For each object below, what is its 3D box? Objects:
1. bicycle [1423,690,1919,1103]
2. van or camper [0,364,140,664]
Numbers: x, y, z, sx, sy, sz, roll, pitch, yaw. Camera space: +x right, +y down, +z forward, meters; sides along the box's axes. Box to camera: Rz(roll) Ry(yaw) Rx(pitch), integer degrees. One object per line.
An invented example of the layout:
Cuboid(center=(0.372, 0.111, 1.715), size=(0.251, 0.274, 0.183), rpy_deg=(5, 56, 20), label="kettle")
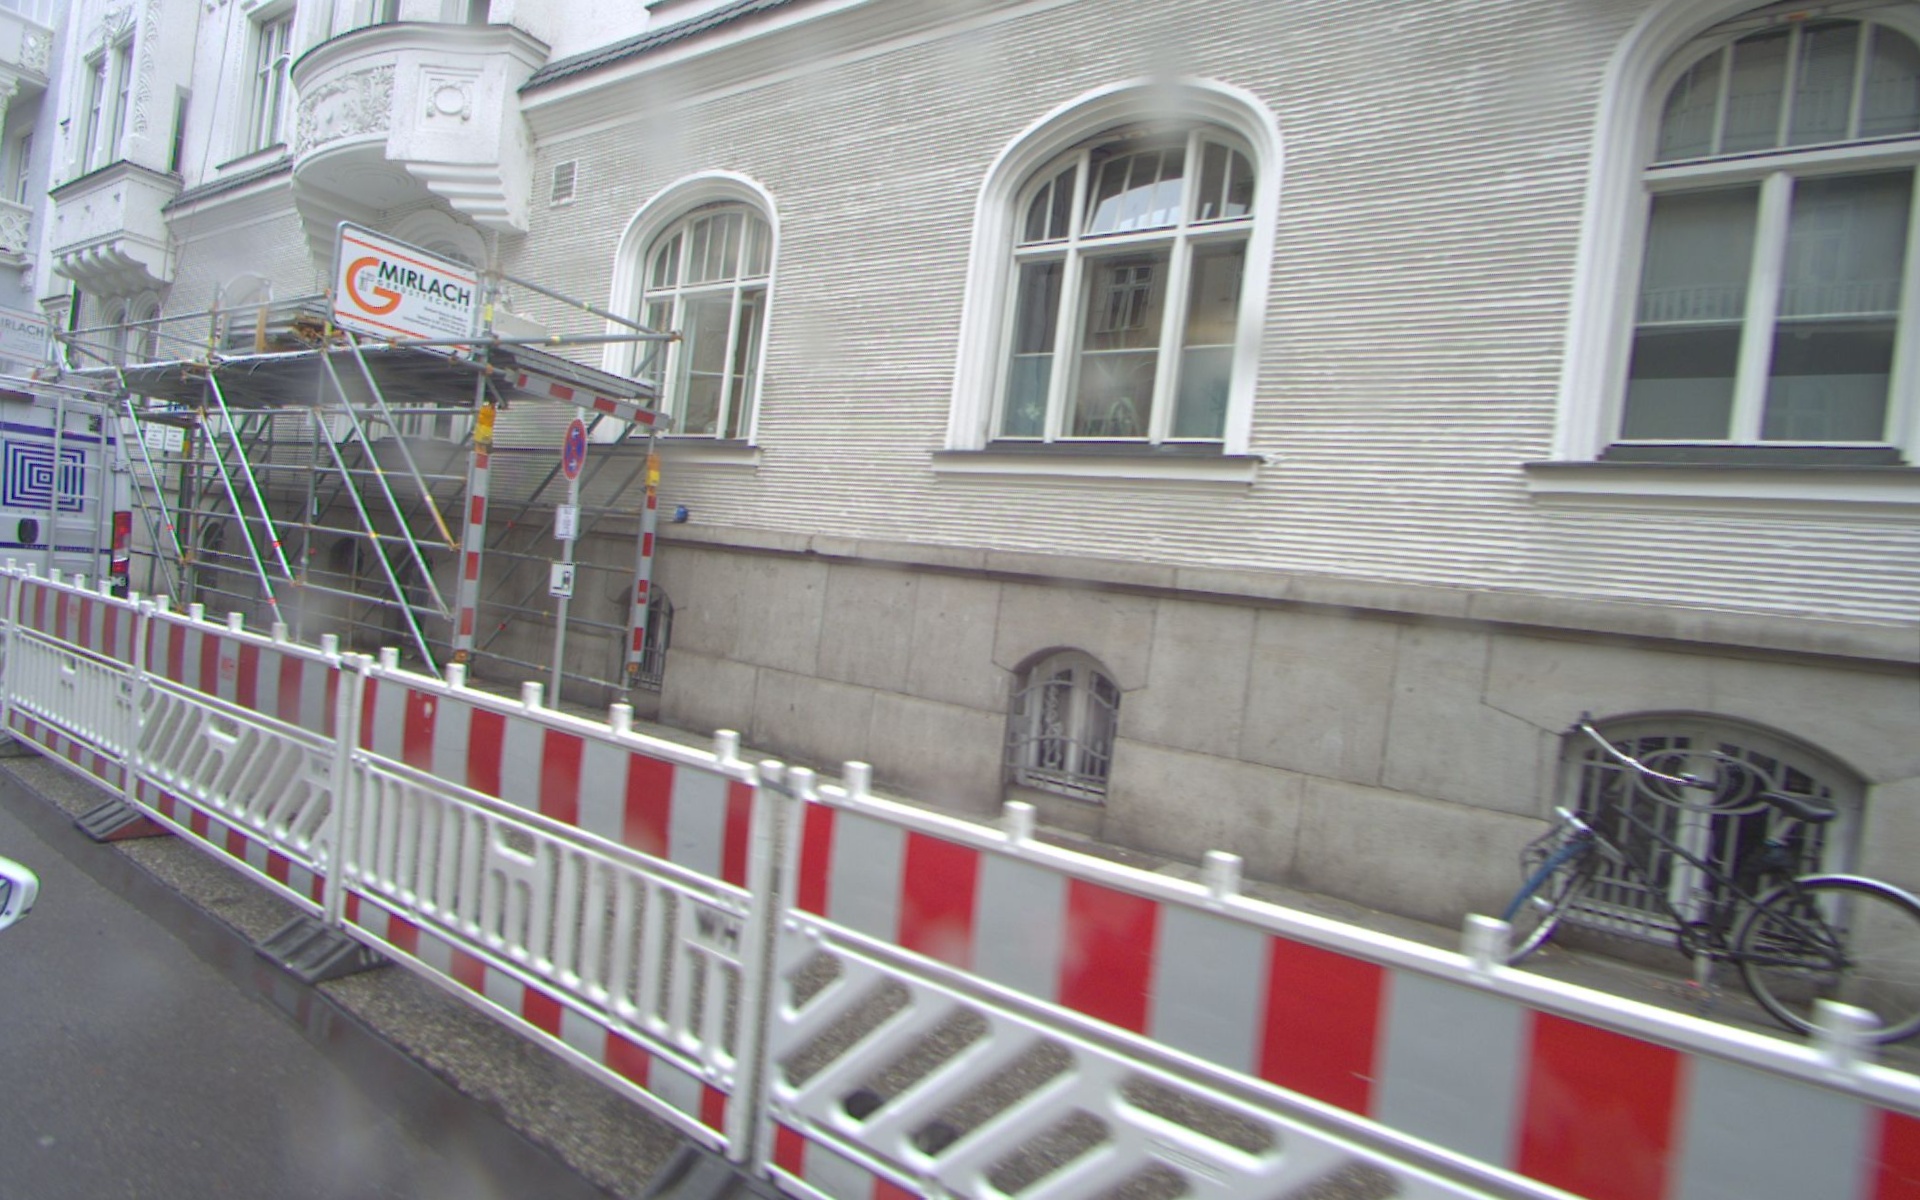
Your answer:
Cuboid(center=(3.064, 1.137, 4.214), size=(1.889, 1.223, 0.660), rpy_deg=(7, 4, 29), label="bicycle")
Cuboid(center=(-10.914, -1.029, 10.478), size=(5.370, 2.669, 1.955), rpy_deg=(7, 0, 33), label="van or camper")
